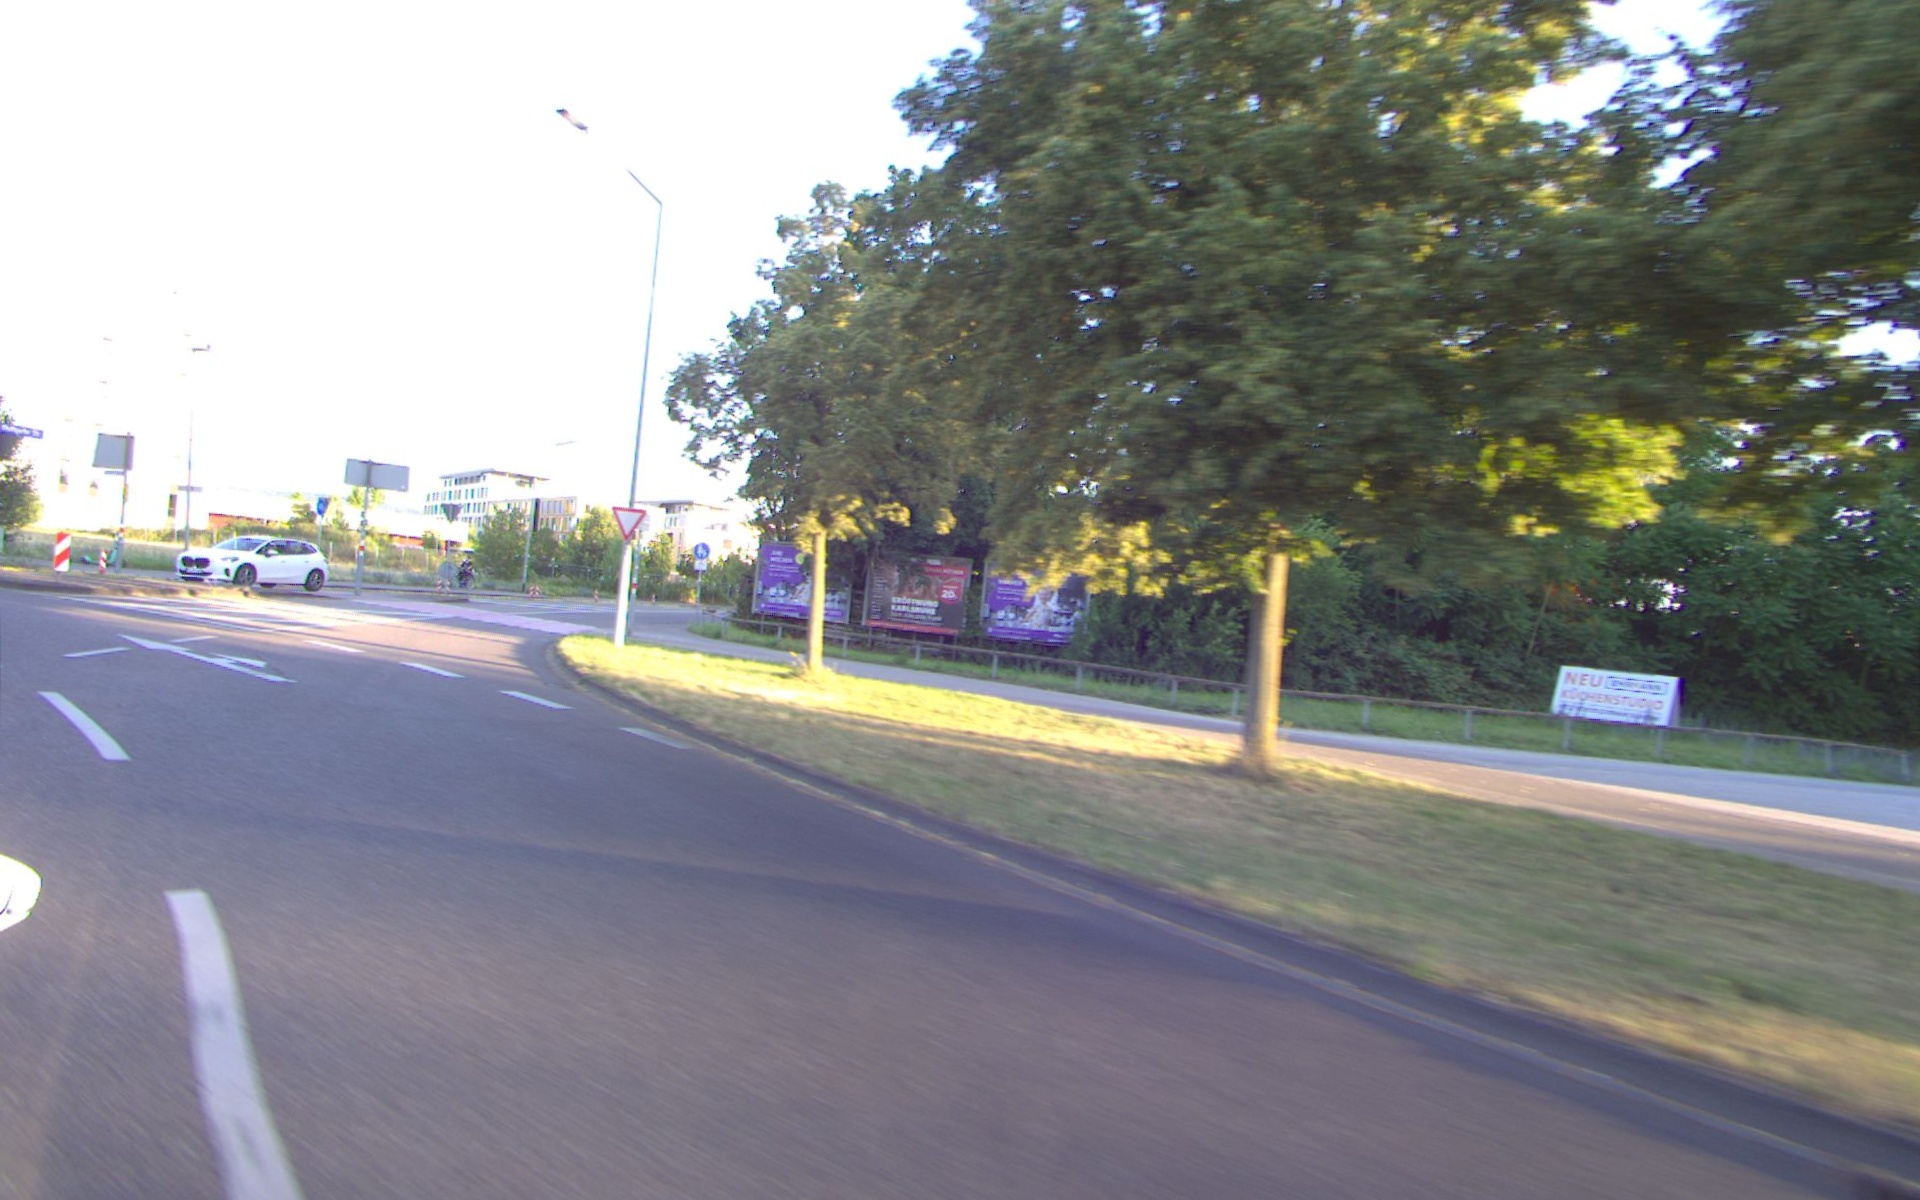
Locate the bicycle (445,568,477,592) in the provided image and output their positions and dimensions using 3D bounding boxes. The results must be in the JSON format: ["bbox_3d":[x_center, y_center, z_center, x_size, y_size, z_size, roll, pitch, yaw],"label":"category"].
[{"bbox_3d":[-25.323,-1.010,51.073,1.347,1.102,0.280,6,0,-3],"label":"bicycle"}]

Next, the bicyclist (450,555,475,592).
[{"bbox_3d":[-25.232,-1.318,51.031,0.828,1.765,0.537,6,0,-3],"label":"bicyclist"}]

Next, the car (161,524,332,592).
[{"bbox_3d":[-21.326,-1.193,30.296,1.855,1.577,4.098,5,-1,6],"label":"car"}]

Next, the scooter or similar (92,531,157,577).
[{"bbox_3d":[-24.645,-1.338,29.676,1.359,1.177,0.442,6,0,-6],"label":"scooter or similar"}]
